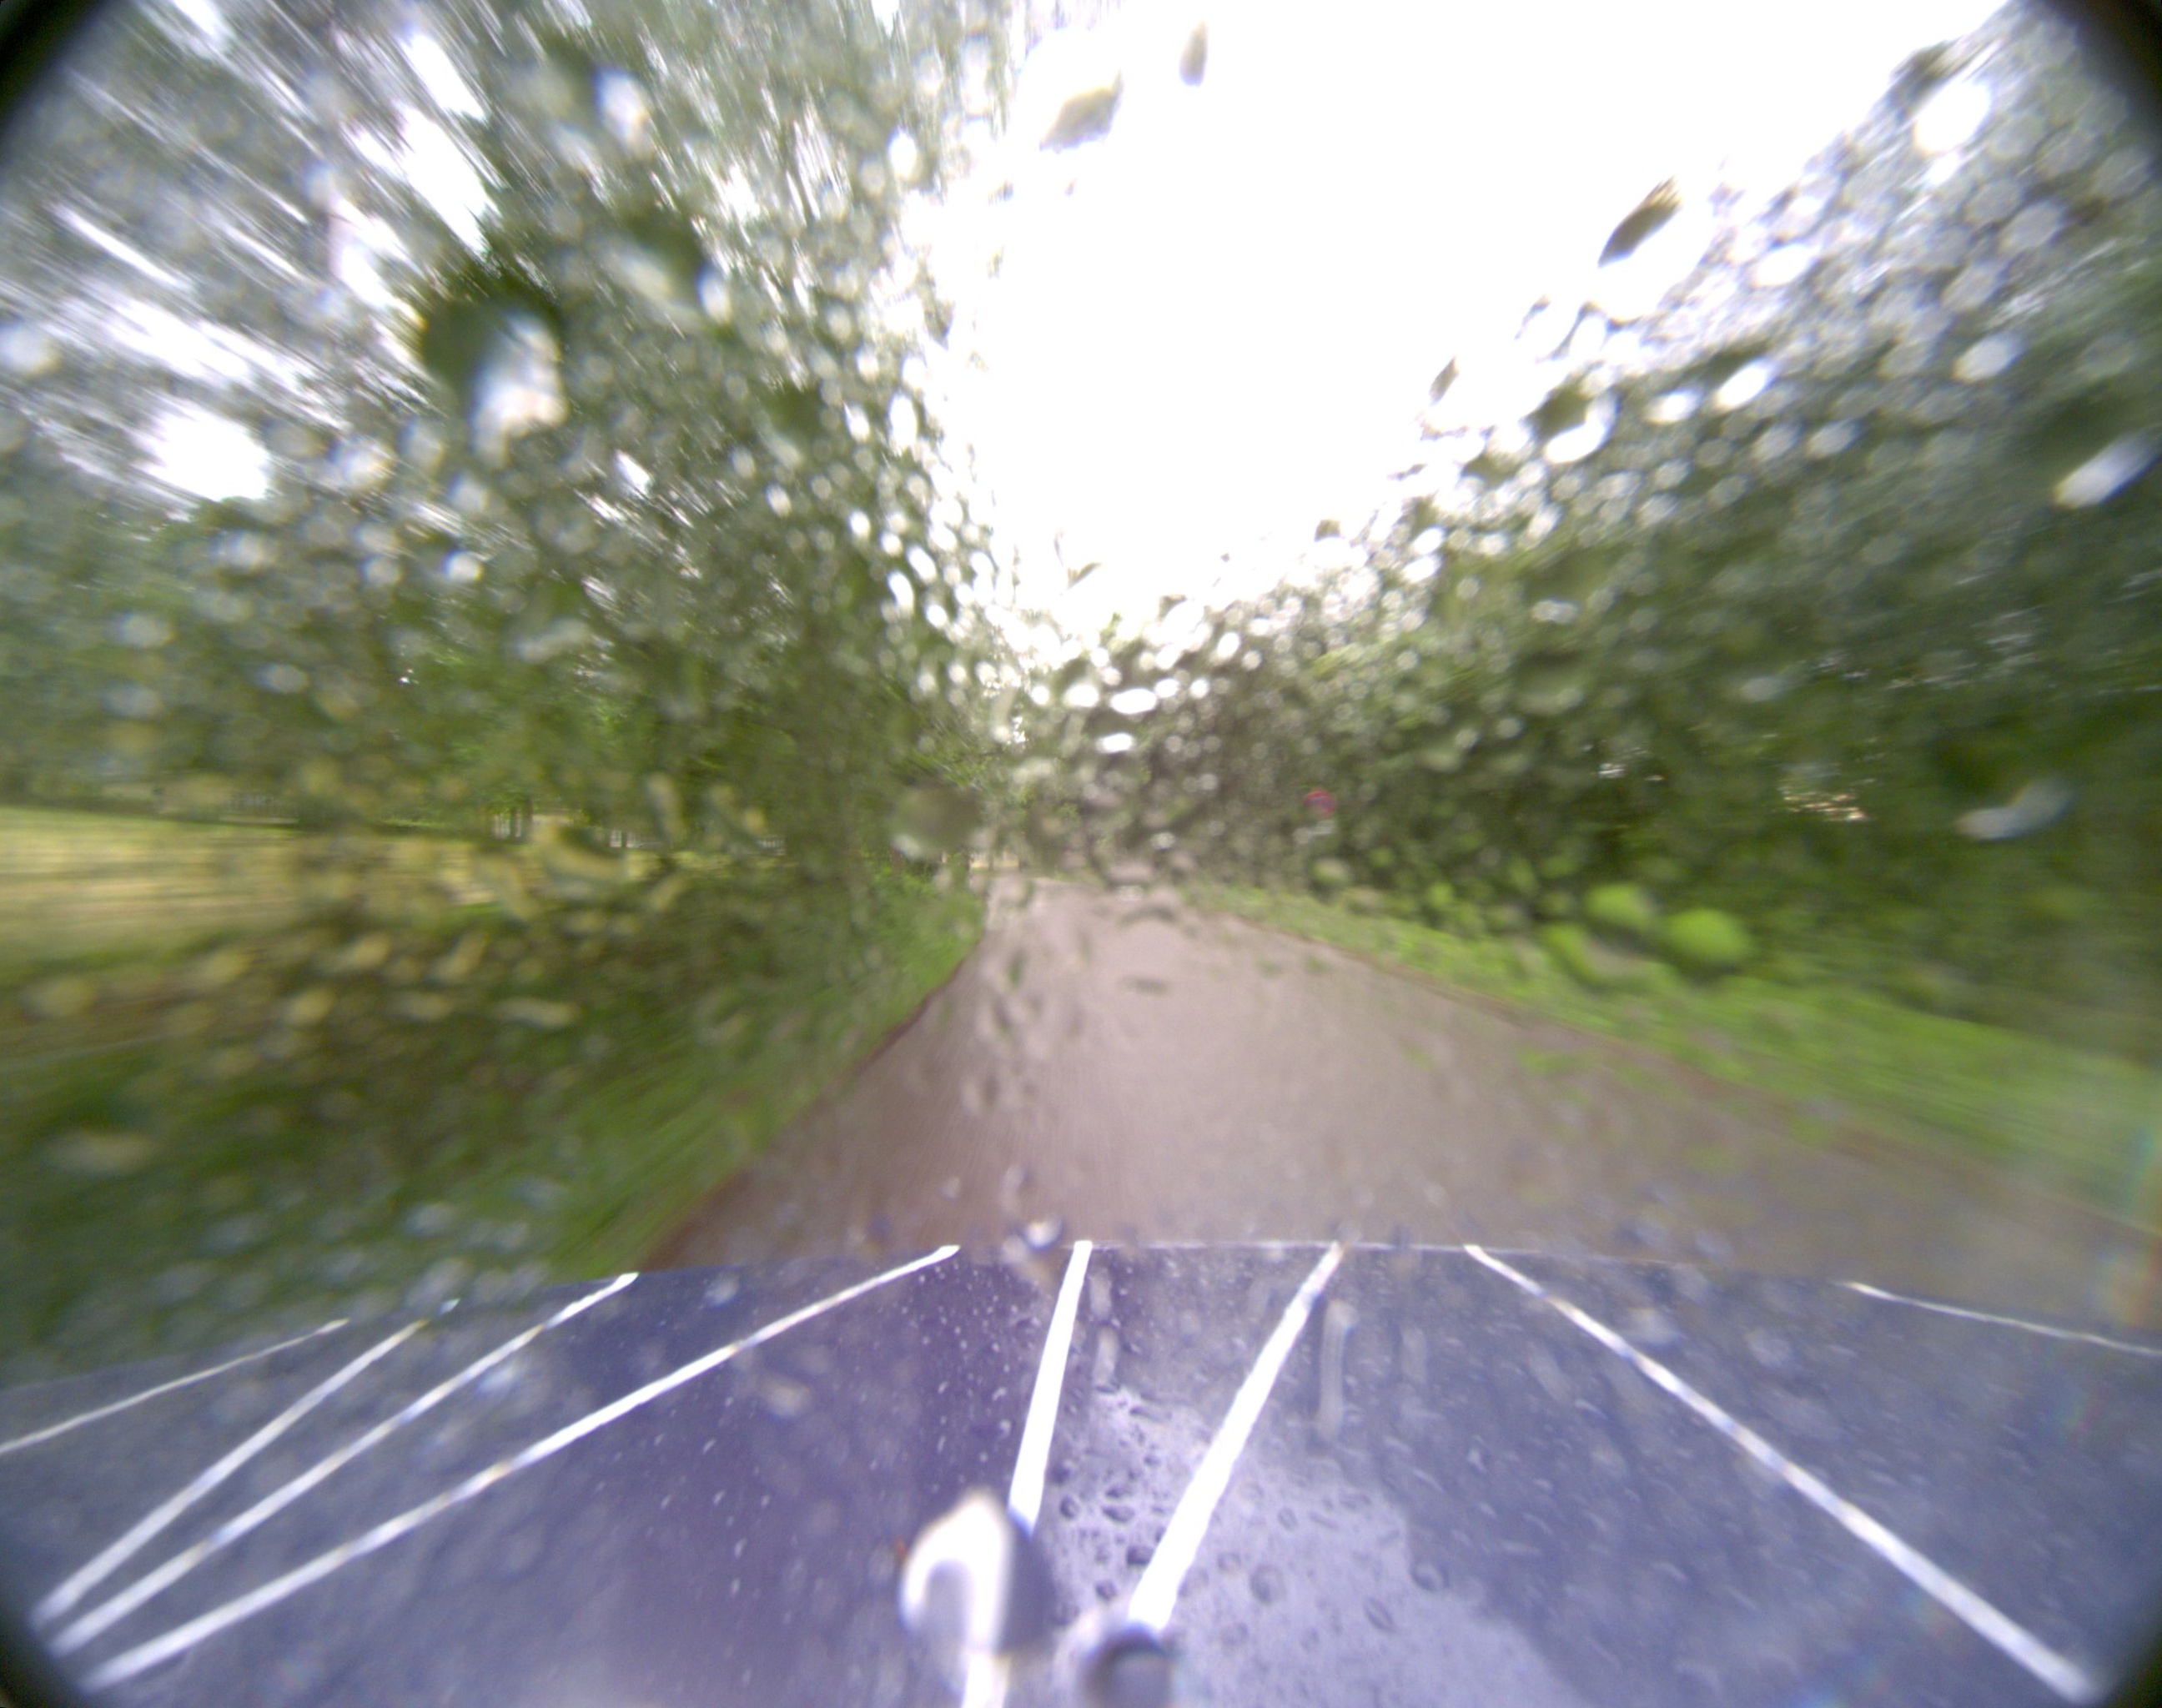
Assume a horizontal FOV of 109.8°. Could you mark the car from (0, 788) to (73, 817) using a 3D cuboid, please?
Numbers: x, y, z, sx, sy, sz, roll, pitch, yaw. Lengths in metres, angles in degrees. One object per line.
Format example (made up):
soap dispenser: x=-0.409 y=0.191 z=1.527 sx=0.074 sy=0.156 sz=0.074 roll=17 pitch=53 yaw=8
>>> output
car: x=-63.238 y=-3.101 z=44.921 sx=1.994 sy=1.419 sz=4.306 roll=2 pitch=-2 yaw=38
